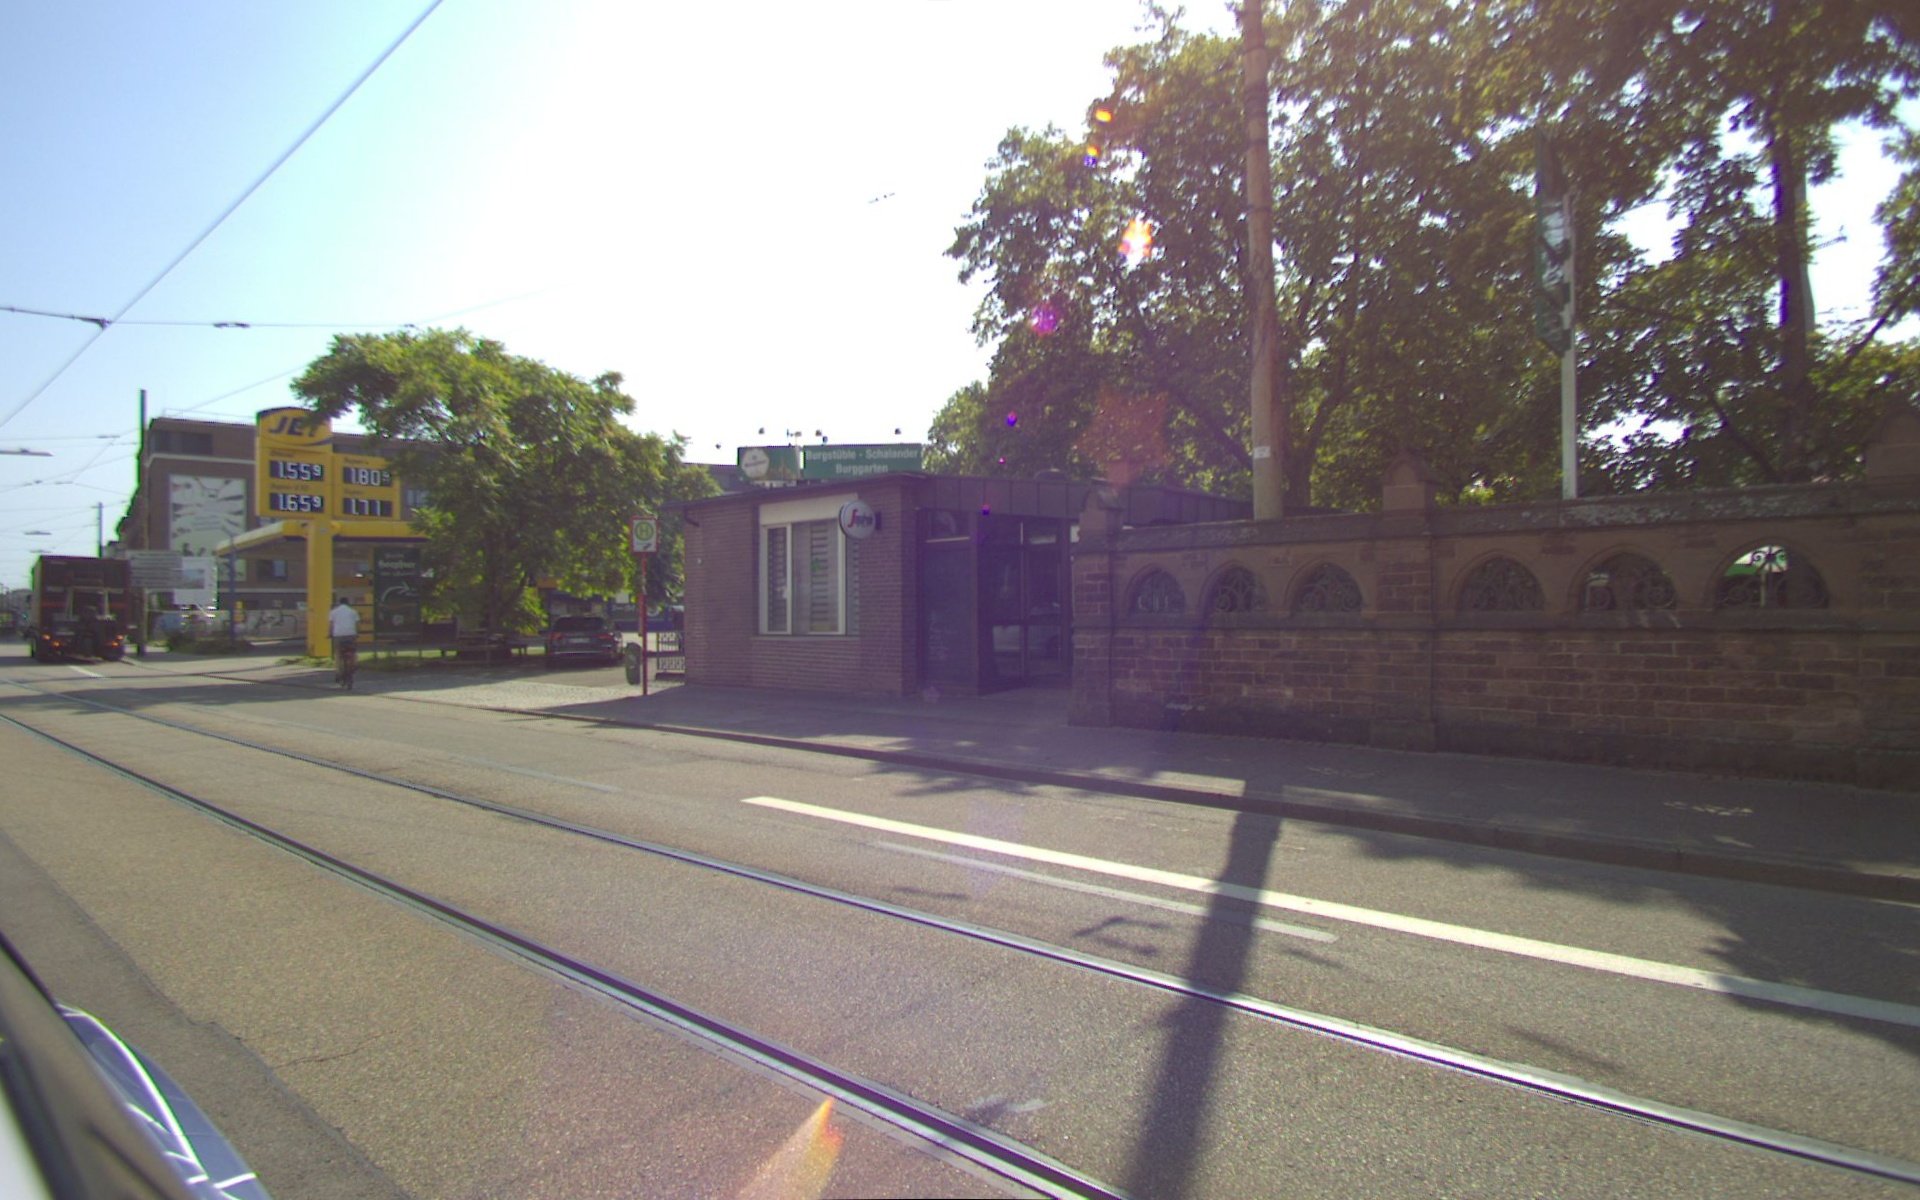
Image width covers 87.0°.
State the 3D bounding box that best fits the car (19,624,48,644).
[{"bbox_3d":[-80.463,2.906,87.943,1.752,1.679,4.006,0,-1,-41],"label":"car"}]

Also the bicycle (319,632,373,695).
[{"bbox_3d":[-12.905,1.308,21.306,0.774,1.250,2.040,0,-2,-26],"label":"bicycle"}]

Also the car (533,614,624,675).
[{"bbox_3d":[-10.245,1.133,27.454,1.905,1.472,4.540,-1,-1,-16],"label":"car"}]

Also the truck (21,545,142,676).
[{"bbox_3d":[-36.715,0.470,41.957,3.127,4.487,16.855,0,-1,-43],"label":"truck"}]

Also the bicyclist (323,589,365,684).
[{"bbox_3d":[-12.937,0.752,21.263,0.632,1.944,1.179,0,-1,-26],"label":"bicyclist"}]
